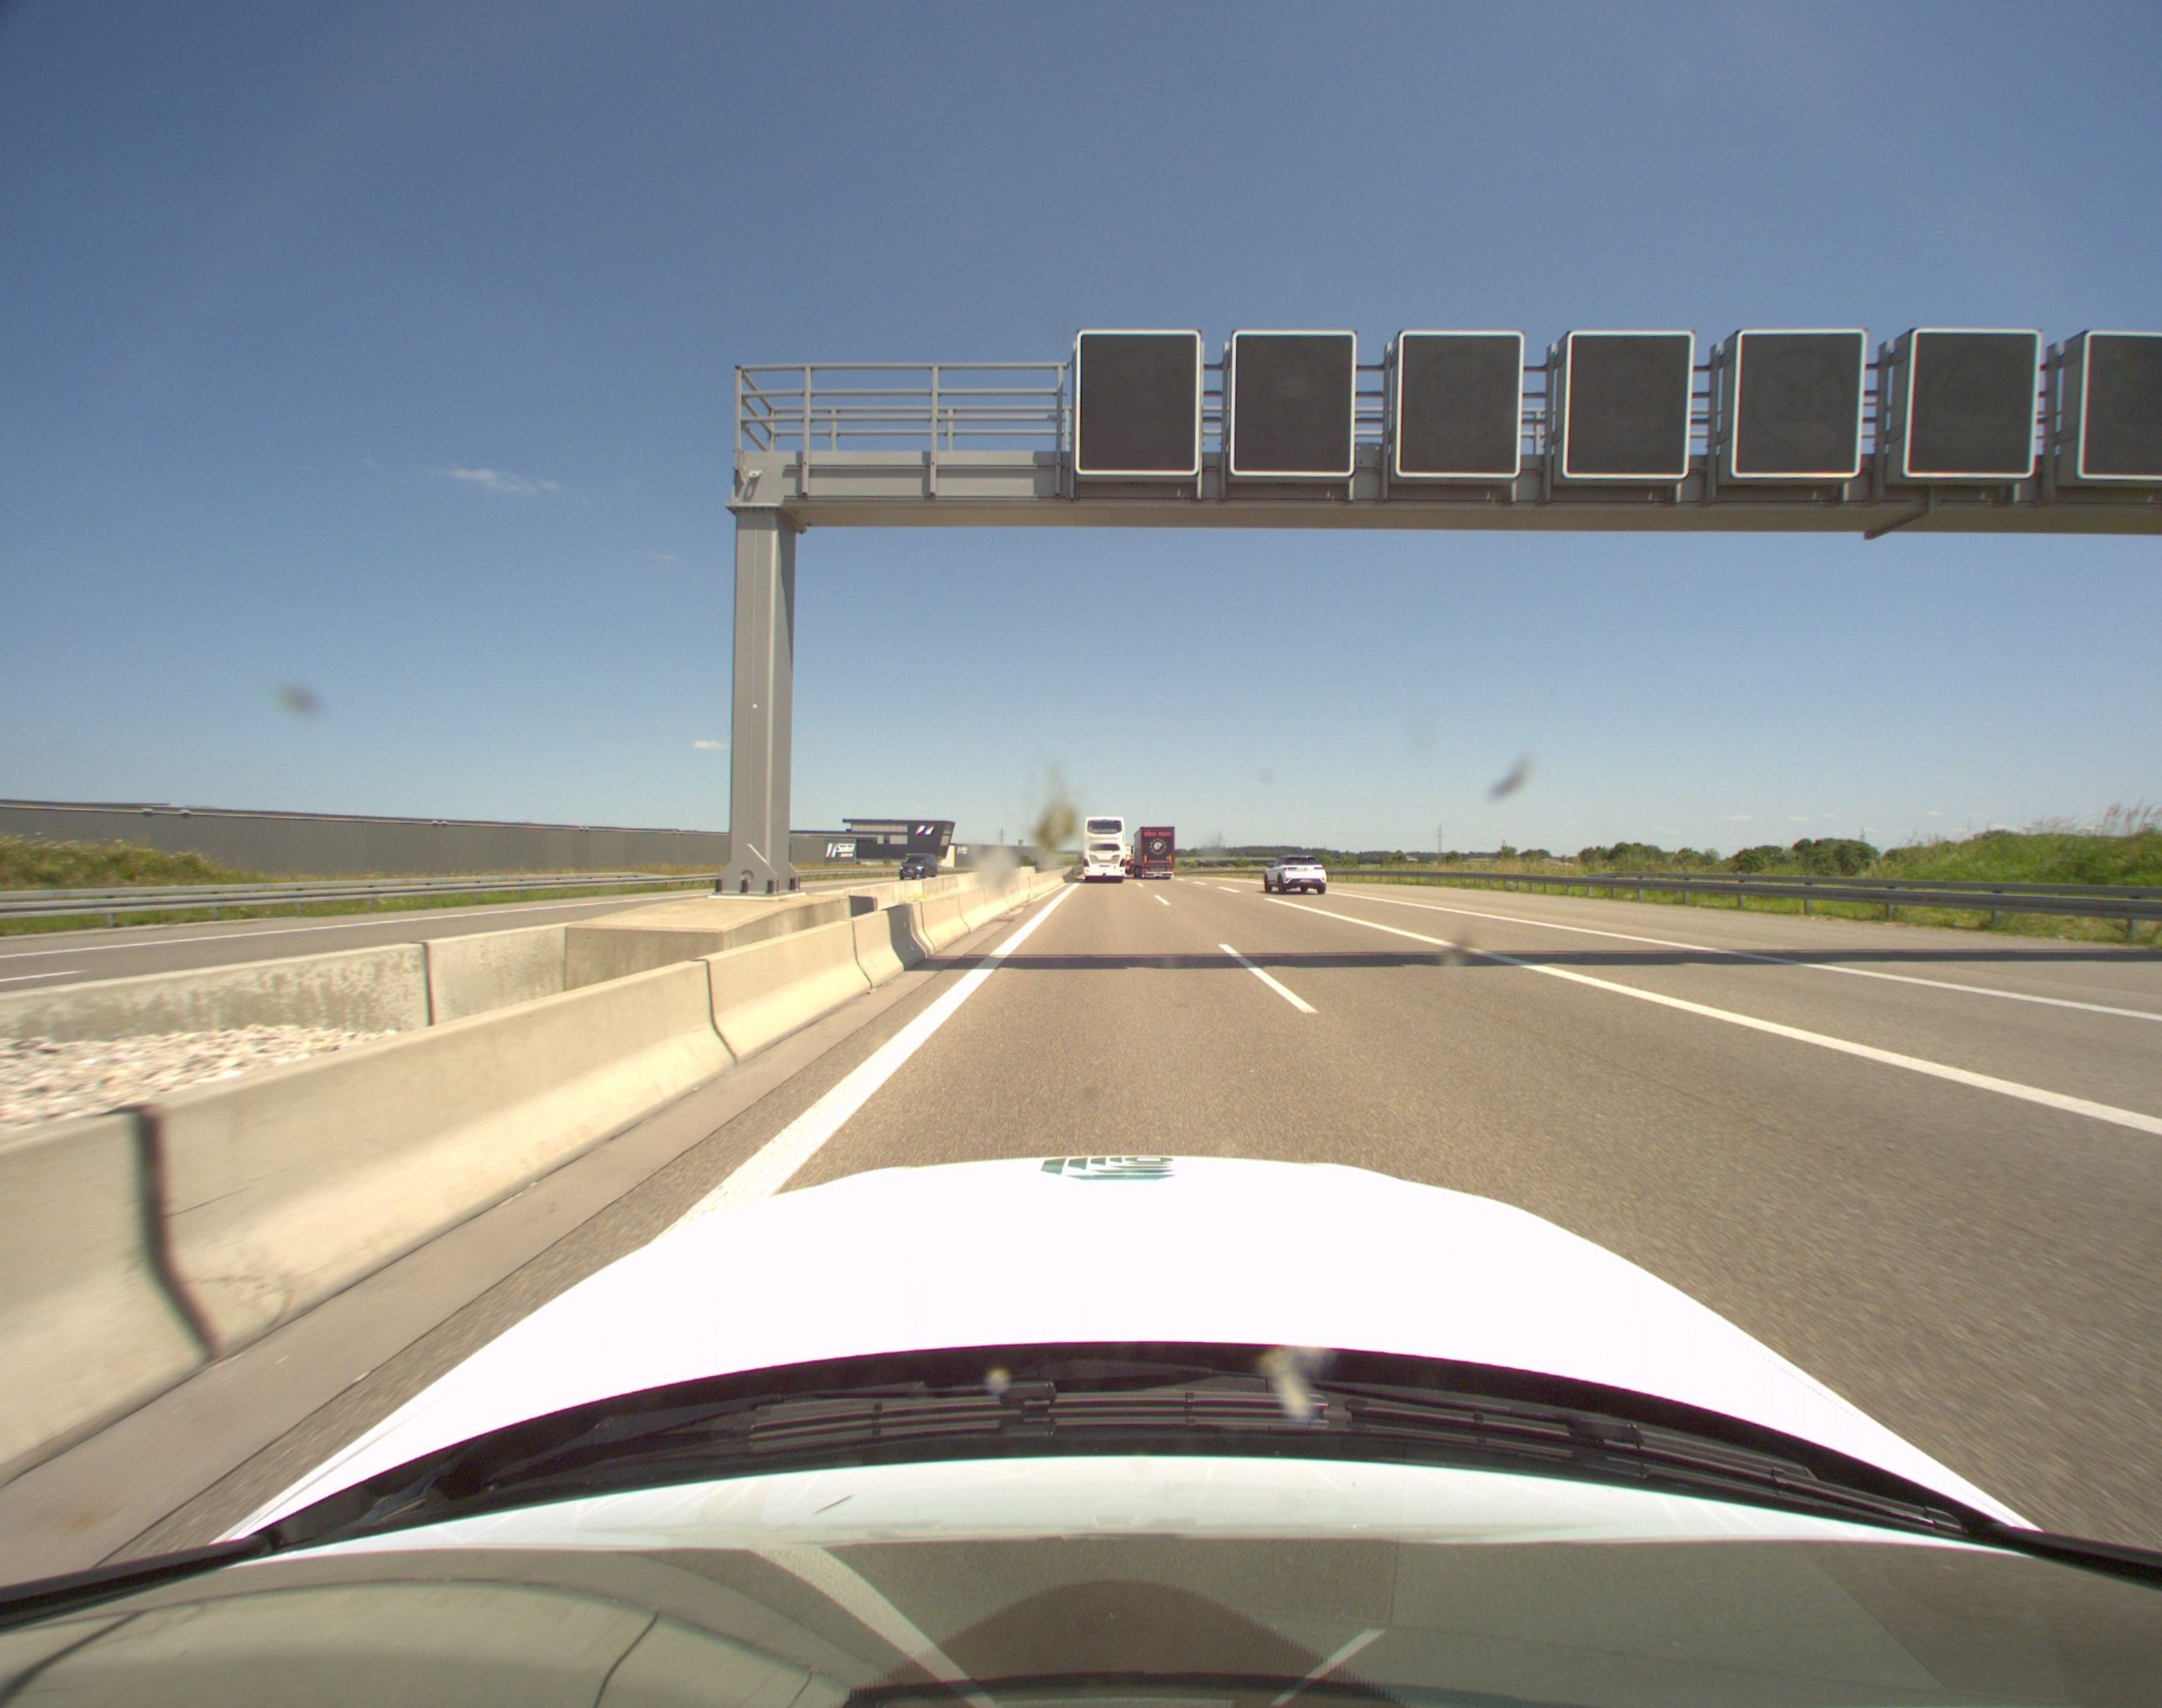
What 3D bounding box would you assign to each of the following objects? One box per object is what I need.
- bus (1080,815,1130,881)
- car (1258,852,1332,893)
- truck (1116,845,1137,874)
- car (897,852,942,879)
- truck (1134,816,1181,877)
[{"bbox_3d":[1.524,-0.438,53.459,2.970,3.974,9.106,0,1,1],"label":"bus"},{"bbox_3d":[8.697,0.717,33.426,1.885,1.529,4.261,0,0,0],"label":"car"},{"bbox_3d":[6.051,0.692,108.834,2.429,3.789,6.494,0,0,1],"label":"truck"},{"bbox_3d":[-12.261,0.854,62.197,2.139,2.013,5.384,0,0,2],"label":"car"},{"bbox_3d":[6.104,-0.373,67.366,3.365,4.464,13.576,0,-2,3],"label":"truck"}]
